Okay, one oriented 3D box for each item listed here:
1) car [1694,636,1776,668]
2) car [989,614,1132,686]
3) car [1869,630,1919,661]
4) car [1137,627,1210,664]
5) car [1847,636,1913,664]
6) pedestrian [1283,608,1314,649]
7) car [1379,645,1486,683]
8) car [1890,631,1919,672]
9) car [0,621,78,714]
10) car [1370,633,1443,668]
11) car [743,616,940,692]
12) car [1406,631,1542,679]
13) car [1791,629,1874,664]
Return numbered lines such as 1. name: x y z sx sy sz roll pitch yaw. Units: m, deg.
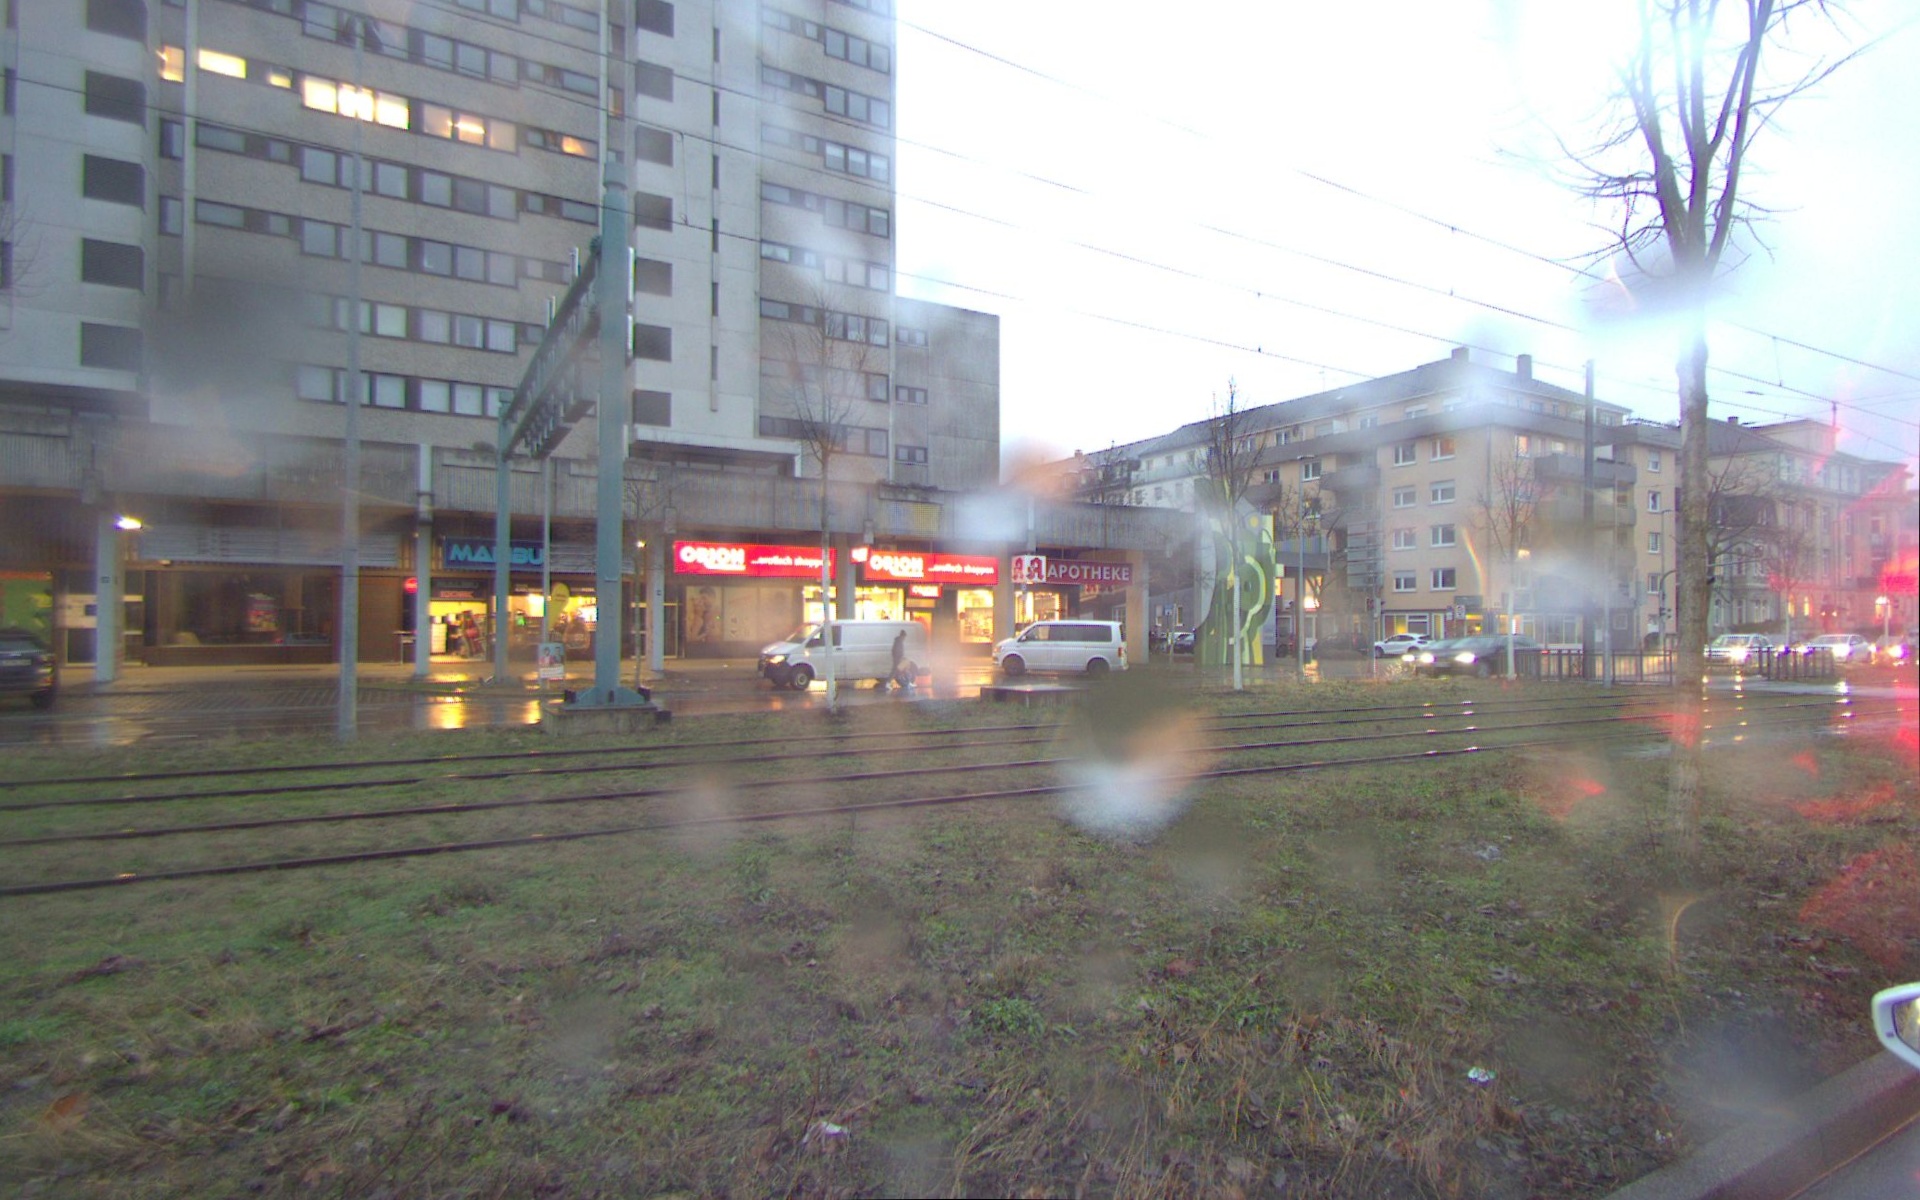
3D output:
1. car: 32.717 2.166 42.385 4.108 1.294 1.679 2 -2 -36
2. car: 3.569 1.706 35.466 4.734 2.274 2.001 2 0 15
3. car: 53.722 2.567 57.059 3.952 1.623 1.941 2 0 -30
4. car: 12.384 2.630 58.173 3.830 2.040 1.884 2 0 -31
5. car: 57.795 3.116 63.096 3.952 1.623 1.941 2 0 -30
6. pedestrian: 16.982 1.439 50.405 1.253 2.040 1.004 -1 -1 37
7. car: 17.996 2.402 38.219 3.956 1.350 1.849 1 -1 -32
8. car: 40.816 2.167 41.852 3.954 1.623 1.983 2 0 -31
9. car: -20.779 1.364 21.186 4.067 1.715 1.982 2 0 28
10. car: 27.828 3.095 62.654 1.825 1.968 3.720 1 0 -37
11. car: -3.509 1.581 29.976 5.490 2.073 1.987 2 0 -26
12. car: 16.501 1.736 32.207 4.265 1.350 1.850 2 0 -30
13. car: 41.961 2.214 48.312 3.953 1.598 1.858 1 -1 -30
